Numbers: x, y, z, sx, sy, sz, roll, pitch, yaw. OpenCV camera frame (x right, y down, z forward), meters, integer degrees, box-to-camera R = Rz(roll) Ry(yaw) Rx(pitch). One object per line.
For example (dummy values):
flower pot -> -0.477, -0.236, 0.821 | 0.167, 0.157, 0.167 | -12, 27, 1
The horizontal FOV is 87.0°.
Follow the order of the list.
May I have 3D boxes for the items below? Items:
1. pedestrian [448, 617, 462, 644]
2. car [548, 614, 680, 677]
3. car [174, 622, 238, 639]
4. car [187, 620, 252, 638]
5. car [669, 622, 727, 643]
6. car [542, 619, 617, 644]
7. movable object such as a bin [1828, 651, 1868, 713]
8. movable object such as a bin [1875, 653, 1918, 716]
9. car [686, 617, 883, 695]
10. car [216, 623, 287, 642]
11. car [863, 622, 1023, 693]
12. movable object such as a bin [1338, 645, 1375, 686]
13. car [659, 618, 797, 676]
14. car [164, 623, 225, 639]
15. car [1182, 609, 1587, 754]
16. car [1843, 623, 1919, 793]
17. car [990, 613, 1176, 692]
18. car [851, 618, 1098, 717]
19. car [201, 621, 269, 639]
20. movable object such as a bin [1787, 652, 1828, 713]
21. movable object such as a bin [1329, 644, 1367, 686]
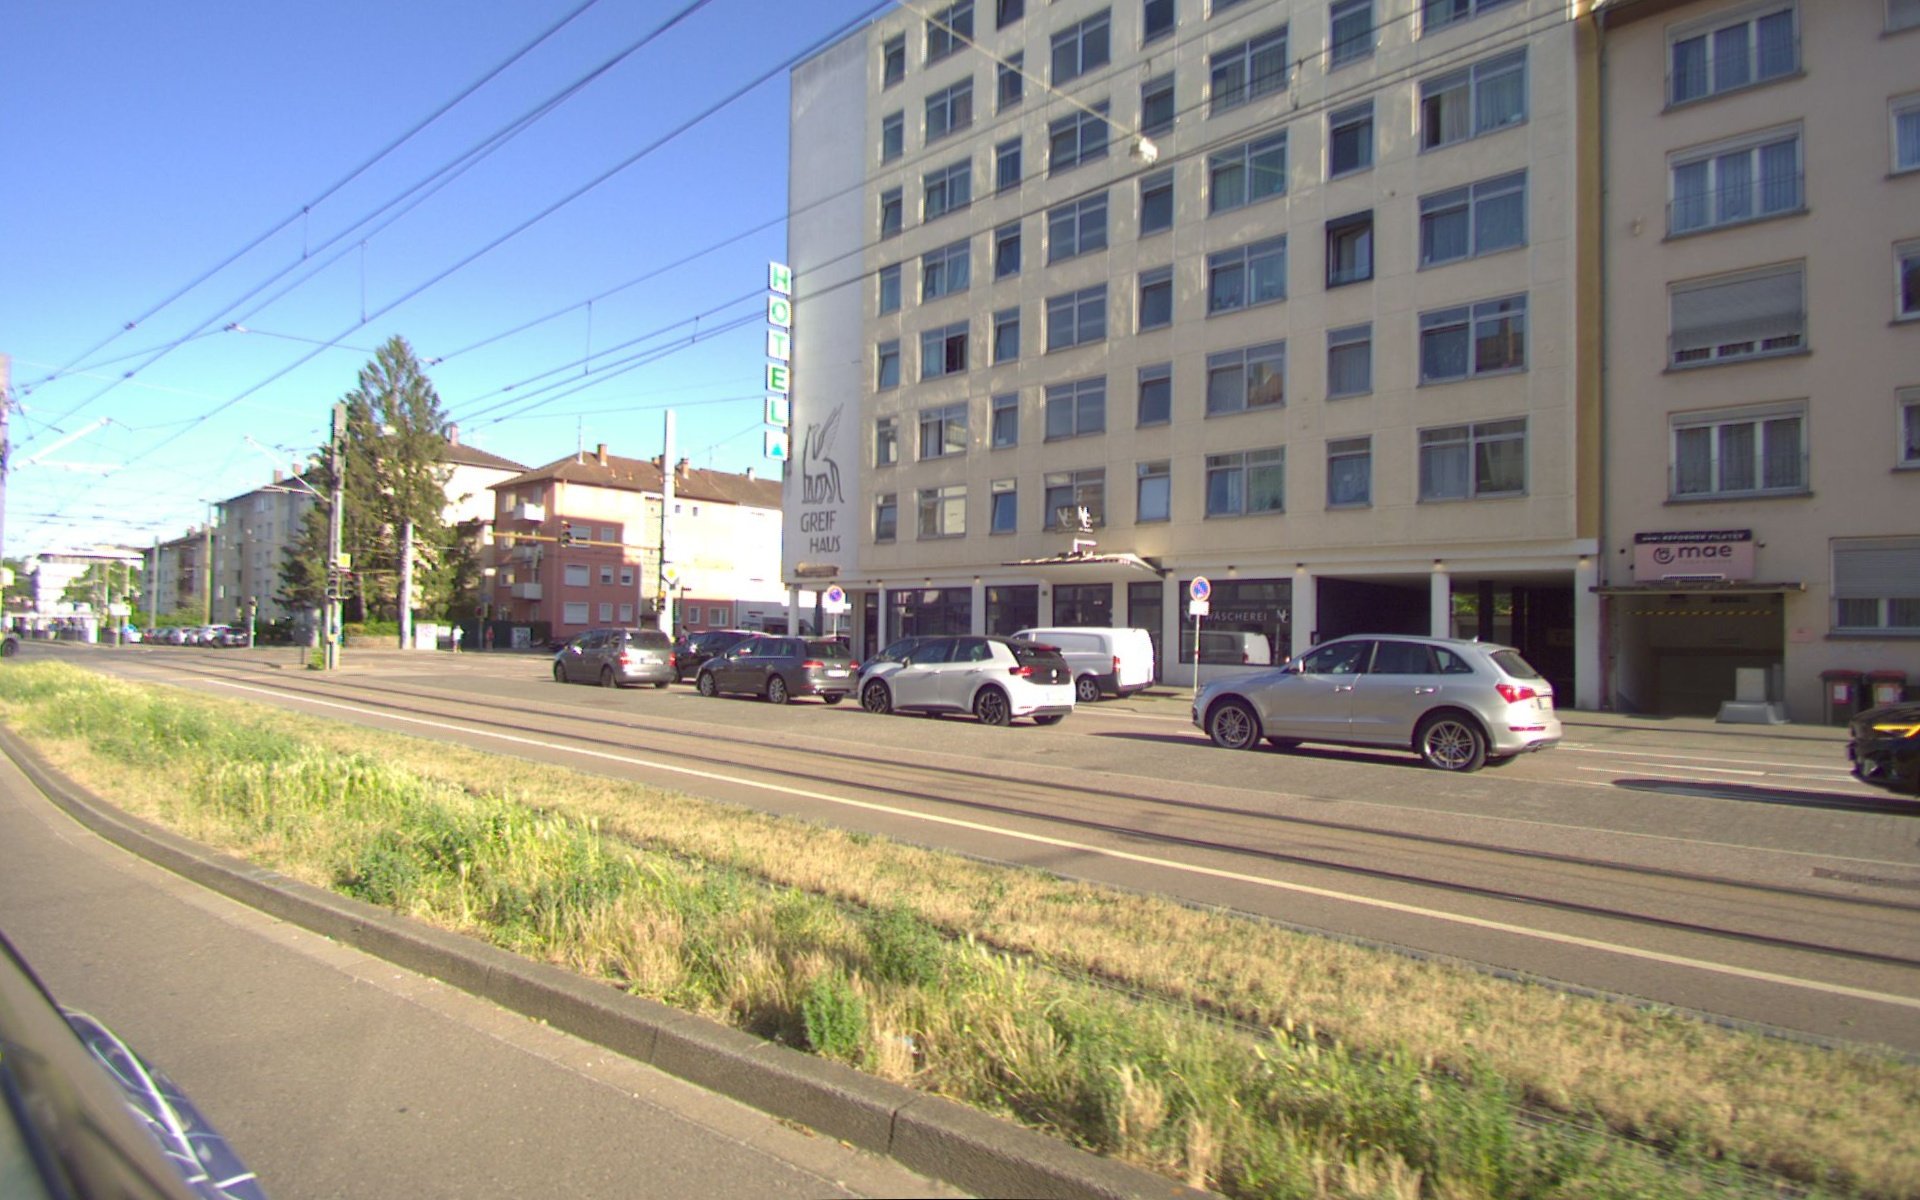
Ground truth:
pedestrian -> -31.159, 1.884, 62.486 | 0.510, 1.618, 0.607 | -1, 0, 41
car -> -9.350, 1.202, 27.224 | 3.999, 1.571, 1.596 | -1, -4, 42
car -> -62.702, 2.578, 84.185 | 1.737, 1.342, 3.944 | -1, -3, 42
car -> -59.470, 2.360, 81.318 | 1.737, 1.342, 3.944 | -1, -3, 42
car -> -19.613, 2.406, 75.874 | 1.786, 1.453, 3.847 | -1, 0, 42
car -> -25.721, 2.095, 68.480 | 1.859, 1.453, 4.403 | -1, 0, 42
movable object such as a bin -> 16.420, 1.507, 18.710 | 0.546, 1.059, 0.764 | -1, 0, 42
movable object such as a bin -> 16.899, 1.511, 18.274 | 0.546, 1.059, 0.764 | -1, 0, 42
car -> -3.985, 1.211, 22.621 | 4.364, 1.562, 1.973 | -1, -4, 41
car -> -51.469, 2.353, 73.587 | 1.737, 1.342, 3.944 | -1, -3, 42
car -> -0.442, 1.306, 23.628 | 3.570, 1.512, 1.551 | -1, -4, 41
movable object such as a bin -> 10.560, 1.729, 26.930 | 0.775, 1.059, 0.538 | -1, -3, 45
car -> -6.867, 1.356, 29.801 | 3.998, 1.571, 1.973 | -1, -2, 41
car -> -65.800, 2.695, 87.027 | 1.737, 1.342, 3.944 | -1, -3, 42
car -> 5.406, 0.962, 13.316 | 4.607, 1.593, 1.763 | -1, -3, 43
car -> 10.705, 1.005, 8.806 | 4.409, 1.540, 1.766 | -1, -3, 38
car -> 3.240, 1.326, 27.218 | 4.667, 1.912, 1.973 | -1, 0, 41
car -> 0.188, 1.159, 18.268 | 4.238, 1.562, 1.837 | -1, -4, 41
car -> -55.569, 2.310, 77.591 | 1.737, 1.342, 3.944 | -1, -3, 42
movable object such as a bin -> 15.993, 1.546, 19.098 | 0.546, 1.059, 0.764 | -1, 0, 42
movable object such as a bin -> 10.174, 1.703, 26.529 | 0.775, 1.059, 0.538 | -1, -3, 45
